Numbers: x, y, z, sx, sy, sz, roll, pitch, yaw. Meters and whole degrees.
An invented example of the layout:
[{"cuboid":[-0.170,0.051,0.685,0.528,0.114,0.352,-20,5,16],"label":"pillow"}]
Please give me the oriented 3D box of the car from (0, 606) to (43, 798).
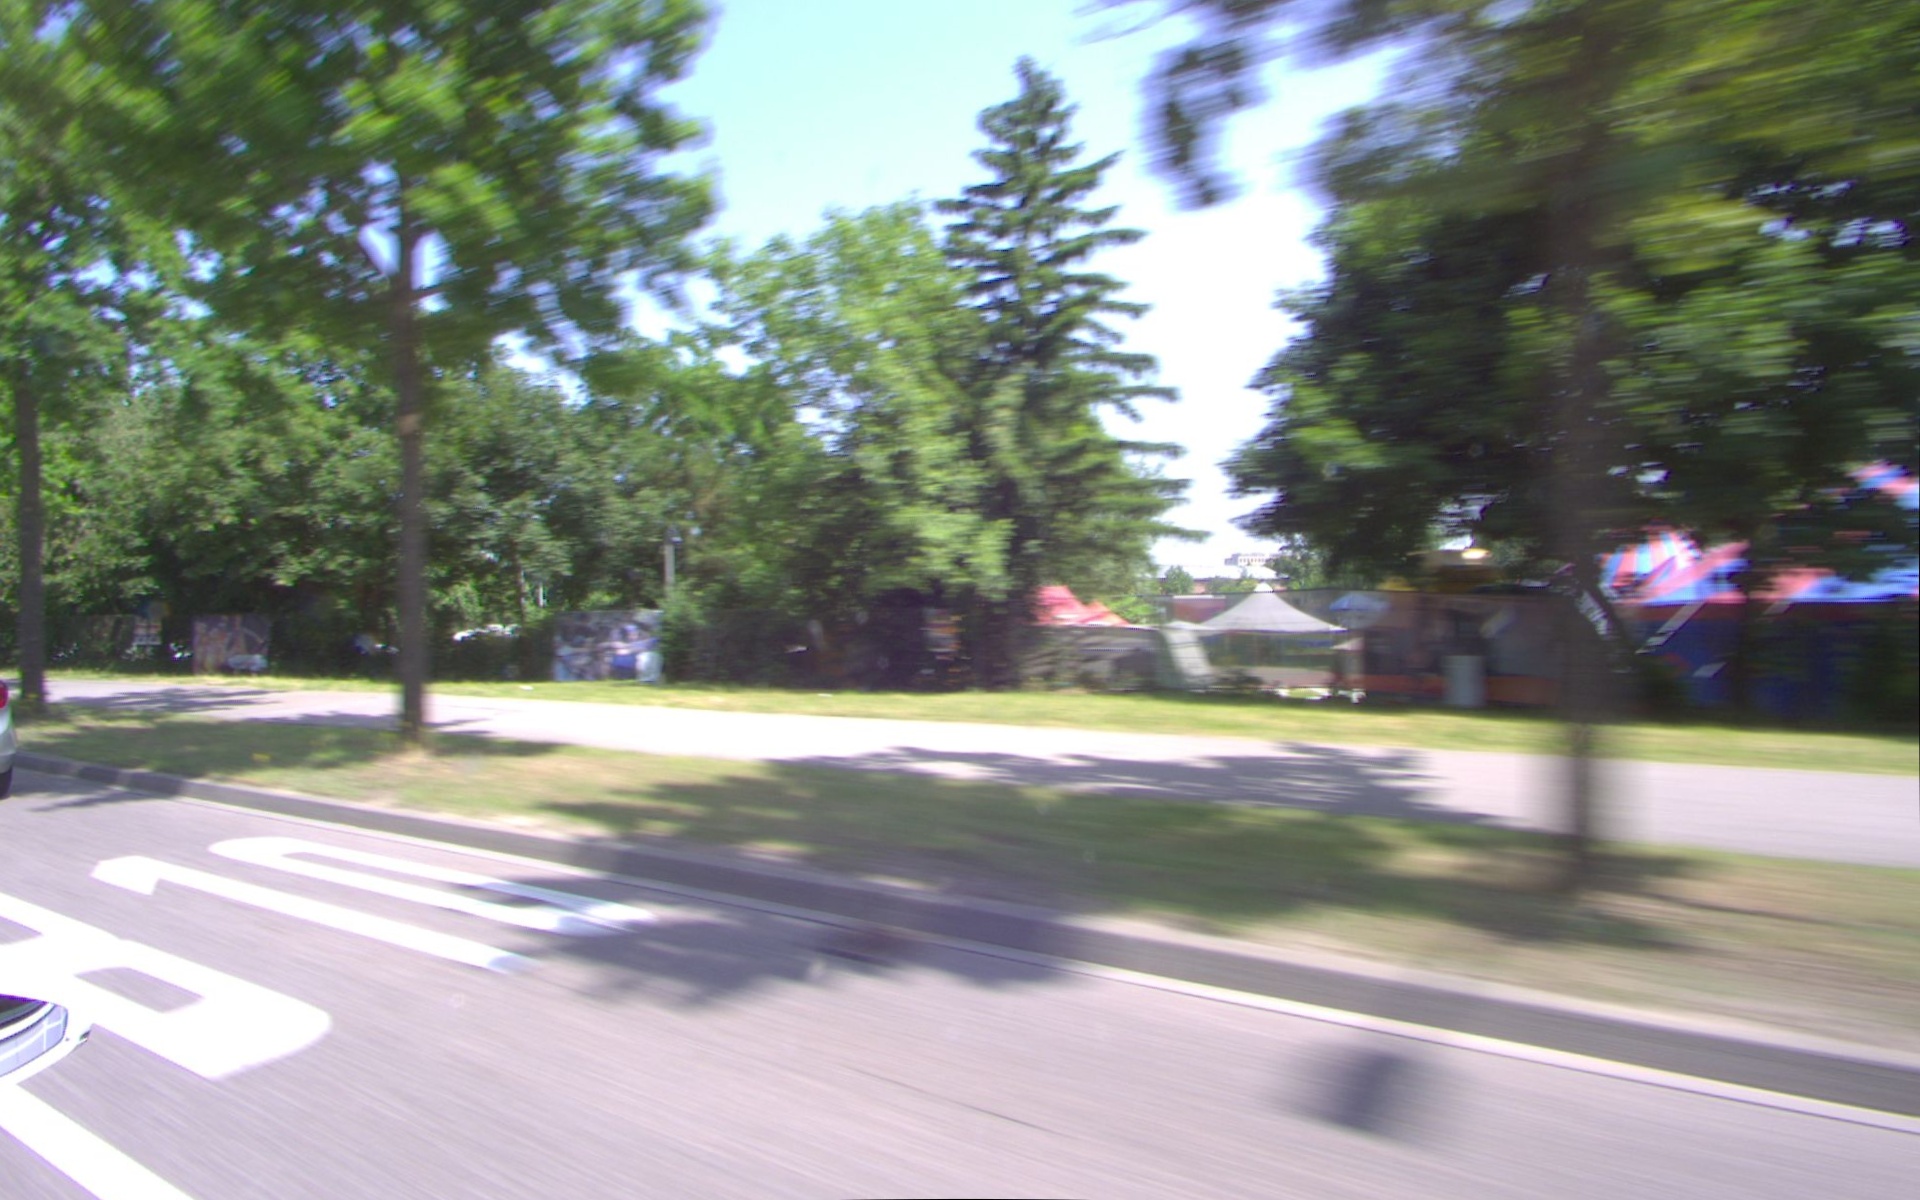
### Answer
[{"cuboid":[-10.135,0.885,9.008,3.834,1.633,1.789,-1,0,31],"label":"car"}]
